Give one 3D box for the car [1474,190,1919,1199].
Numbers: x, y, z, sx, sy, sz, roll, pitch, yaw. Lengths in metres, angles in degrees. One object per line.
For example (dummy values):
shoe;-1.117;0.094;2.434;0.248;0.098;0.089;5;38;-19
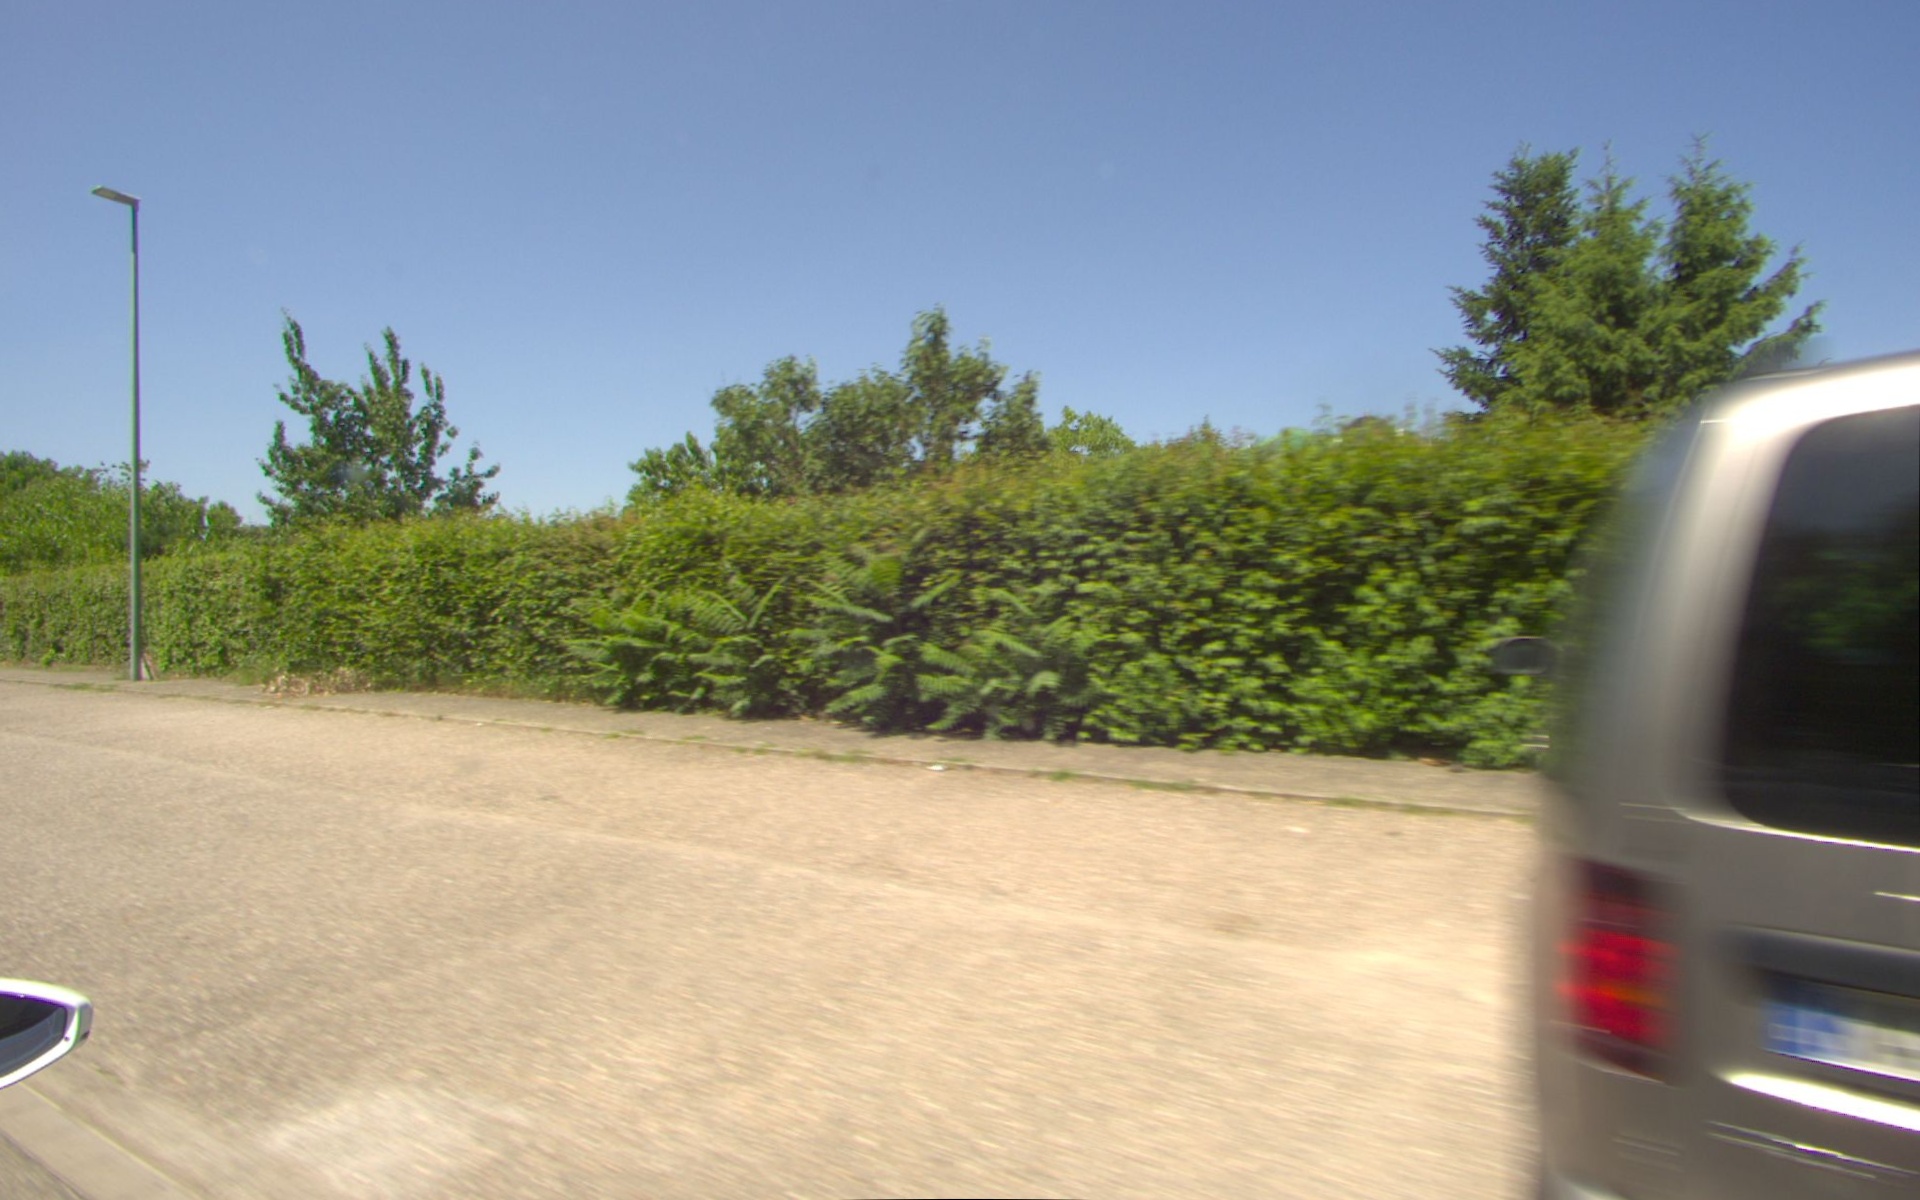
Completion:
car;2.743;0.415;2.867;1.966;1.874;4.611;1;2;31
